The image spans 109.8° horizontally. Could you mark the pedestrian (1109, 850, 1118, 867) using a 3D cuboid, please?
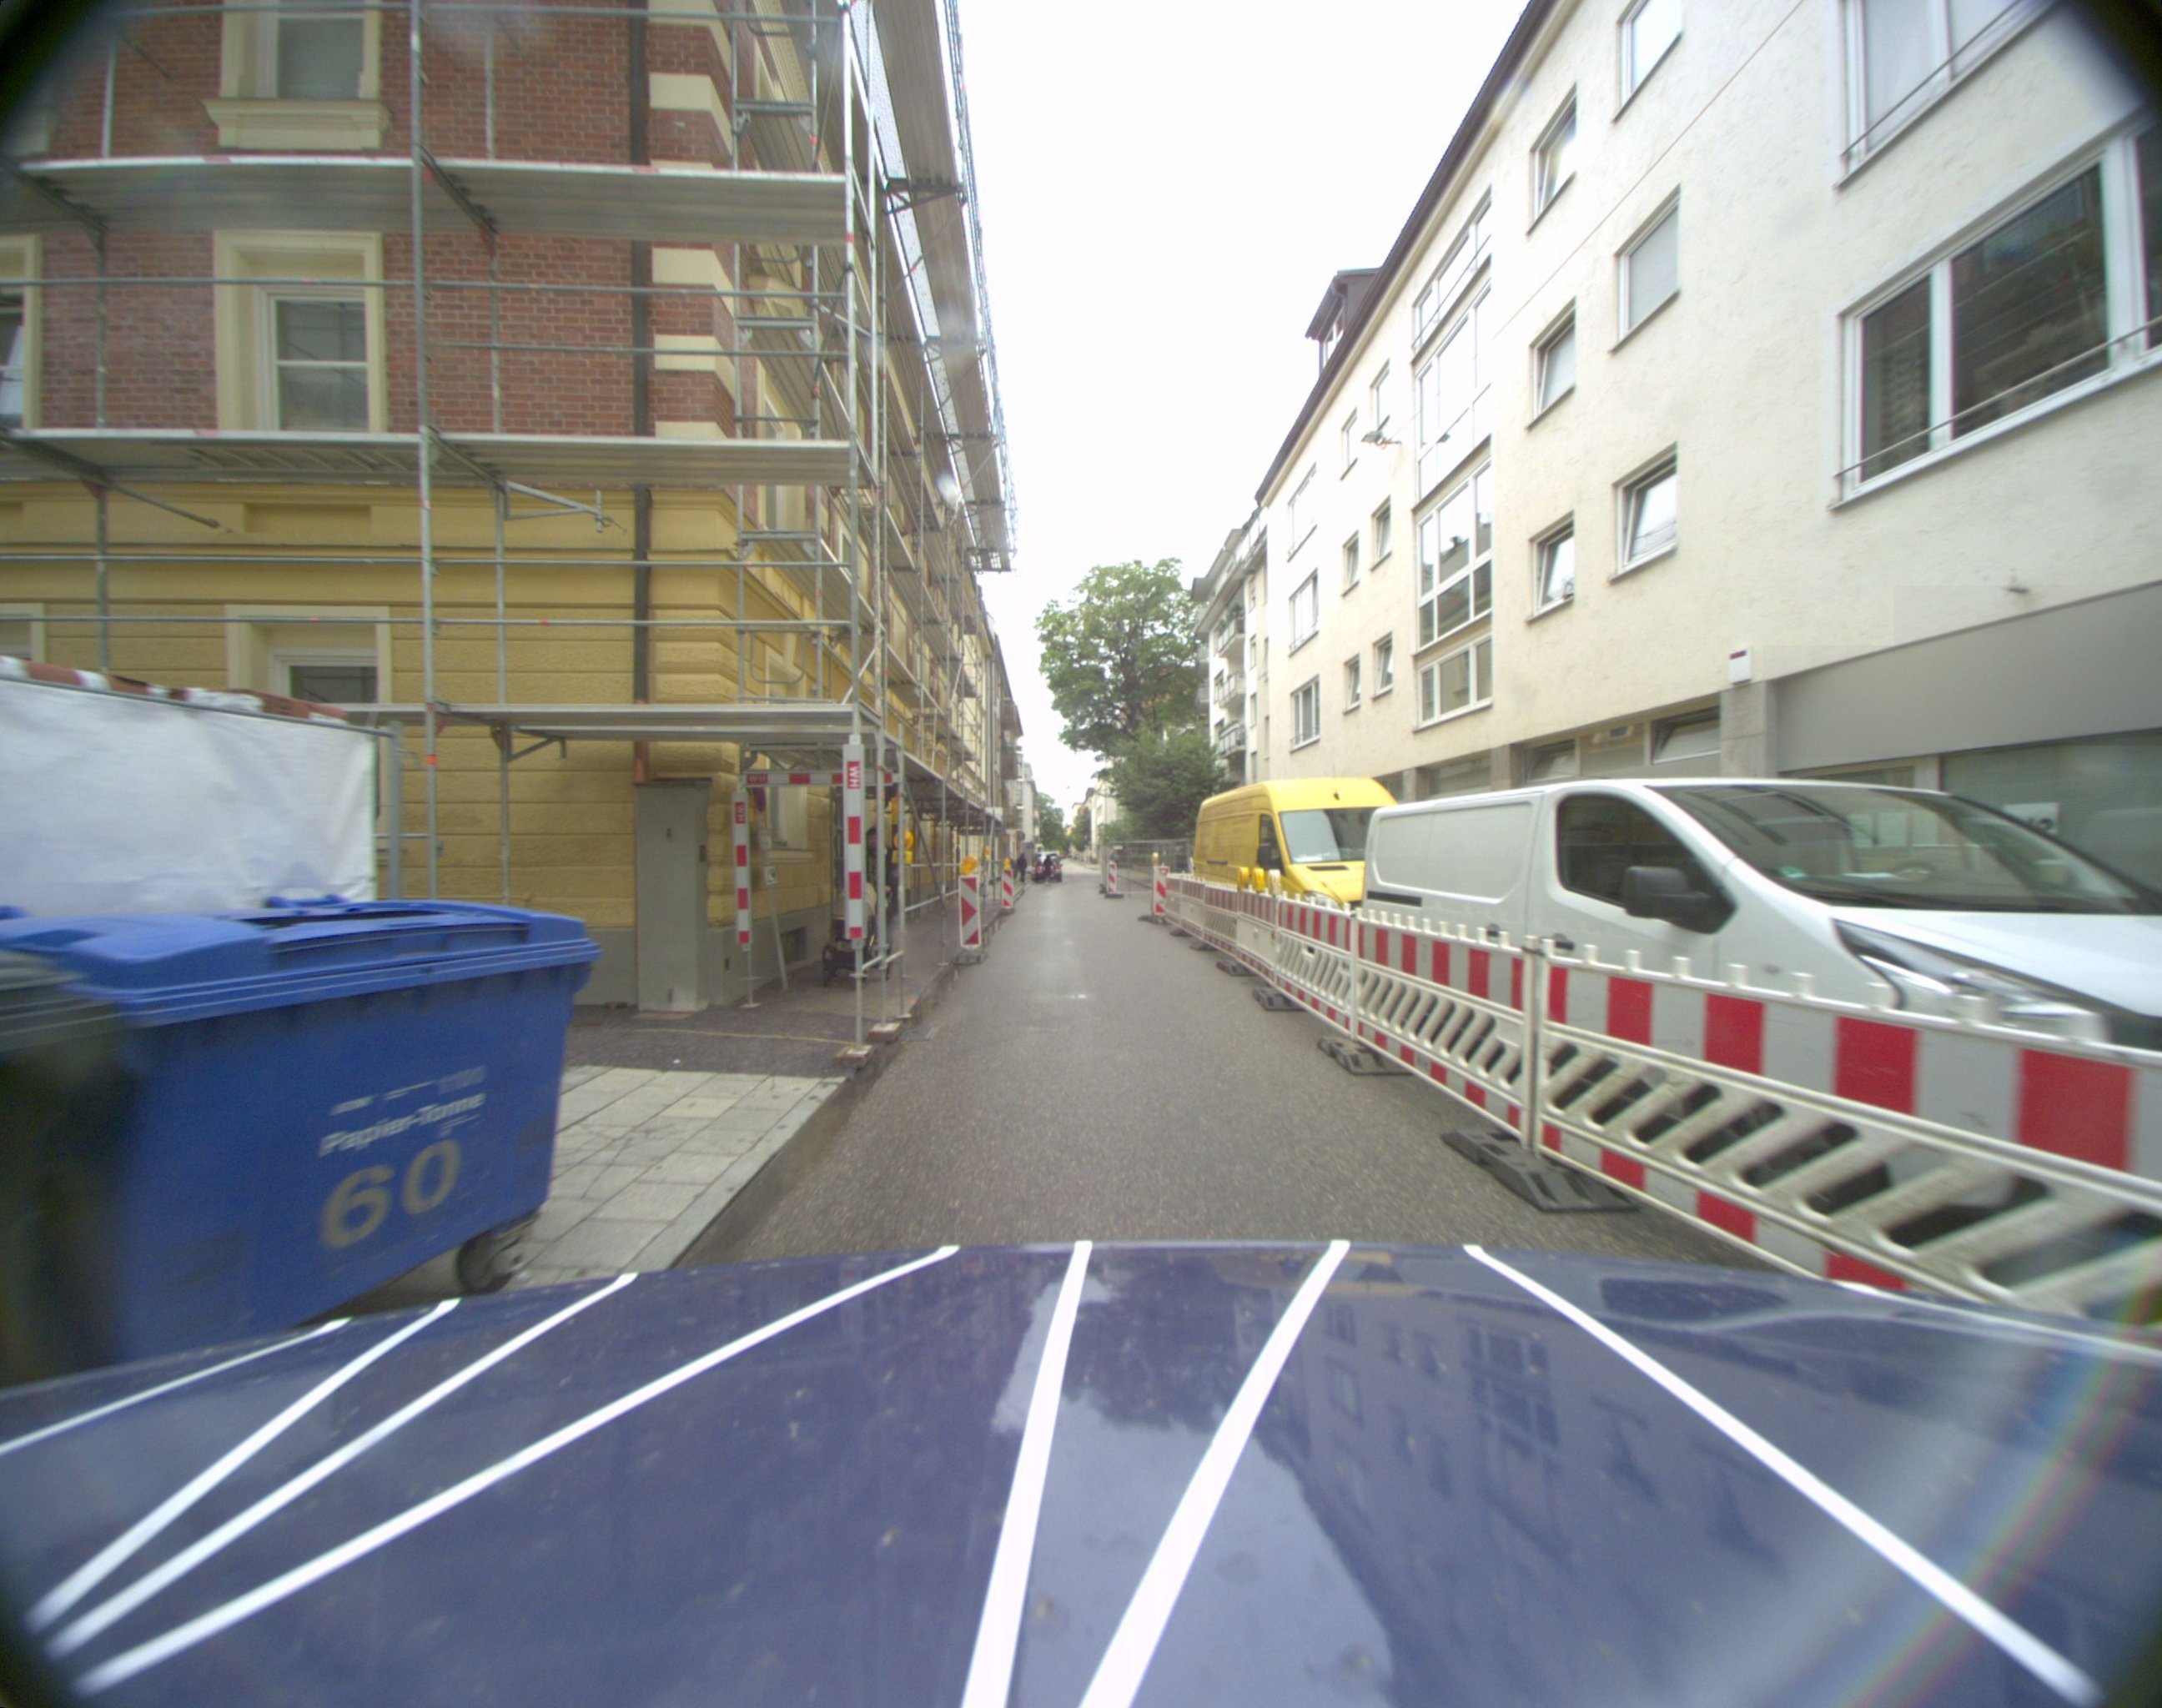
[{"bbox_3d":[3.383,0.494,78.712,0.722,1.718,0.841,-4,1,-2],"label":"pedestrian"}]

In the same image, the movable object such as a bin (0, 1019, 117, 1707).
[{"bbox_3d":[-2.508,0.967,0.937,1.128,1.338,1.171,3,0,6],"label":"movable object such as a bin"}]

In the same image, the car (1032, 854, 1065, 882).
[{"bbox_3d":[-1.927,0.815,46.337,1.776,1.515,4.066,-2,0,0],"label":"car"}]

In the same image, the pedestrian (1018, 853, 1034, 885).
[{"bbox_3d":[-2.890,0.784,39.972,0.660,1.676,0.586,-2,0,4],"label":"pedestrian"}]

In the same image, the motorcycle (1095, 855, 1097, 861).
[{"bbox_3d":[2.391,0.690,121.439,0.324,0.968,1.960,-1,0,-2],"label":"motorcycle"}]

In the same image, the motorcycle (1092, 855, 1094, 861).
[{"bbox_3d":[2.097,0.735,131.029,0.324,0.968,1.960,-1,0,-2],"label":"motorcycle"}]

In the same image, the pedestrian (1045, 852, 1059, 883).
[{"bbox_3d":[-1.591,0.743,41.700,0.660,1.676,0.546,-2,0,4],"label":"pedestrian"}]

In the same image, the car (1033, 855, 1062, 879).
[{"bbox_3d":[-2.219,0.837,51.570,1.773,1.453,4.379,-2,0,0],"label":"car"}]

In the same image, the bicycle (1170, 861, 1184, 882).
[{"bbox_3d":[5.101,0.913,40.317,0.445,0.973,1.853,-3,1,0],"label":"bicycle"}]

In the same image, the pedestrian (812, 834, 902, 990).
[{"bbox_3d":[-2.659,0.665,9.131,0.731,1.742,0.988,3,0,-3],"label":"pedestrian"}]

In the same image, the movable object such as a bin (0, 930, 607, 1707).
[{"bbox_3d":[-2.388,0.980,2.180,1.088,1.338,1.318,3,0,10],"label":"movable object such as a bin"}]

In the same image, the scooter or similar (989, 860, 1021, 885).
[{"bbox_3d":[-3.706,0.909,37.043,0.493,1.176,1.612,3,0,39],"label":"scooter or similar"}]

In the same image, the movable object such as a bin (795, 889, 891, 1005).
[{"bbox_3d":[-2.630,1.002,8.512,0.731,1.134,0.988,4,0,-3],"label":"movable object such as a bin"}]

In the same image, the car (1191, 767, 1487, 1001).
[{"bbox_3d":[3.331,0.327,11.720,1.999,2.563,6.734,0,0,-3],"label":"car"}]

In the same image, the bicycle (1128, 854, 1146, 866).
[{"bbox_3d":[5.870,0.582,79.931,1.812,1.253,0.432,0,1,-3],"label":"bicycle"}]

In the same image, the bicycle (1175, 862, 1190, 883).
[{"bbox_3d":[5.132,0.930,38.452,0.445,0.973,1.815,-3,1,0],"label":"bicycle"}]

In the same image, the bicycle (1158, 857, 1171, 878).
[{"bbox_3d":[4.876,0.785,44.336,0.490,1.145,1.698,-3,1,0],"label":"bicycle"}]

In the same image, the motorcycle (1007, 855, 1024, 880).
[{"bbox_3d":[-4.001,0.796,46.537,0.807,1.415,1.932,5,0,-1],"label":"motorcycle"}]

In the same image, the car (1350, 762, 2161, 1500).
[{"bbox_3d":[3.491,0.723,4.380,1.922,1.886,4.789,1,0,-3],"label":"car"}]
